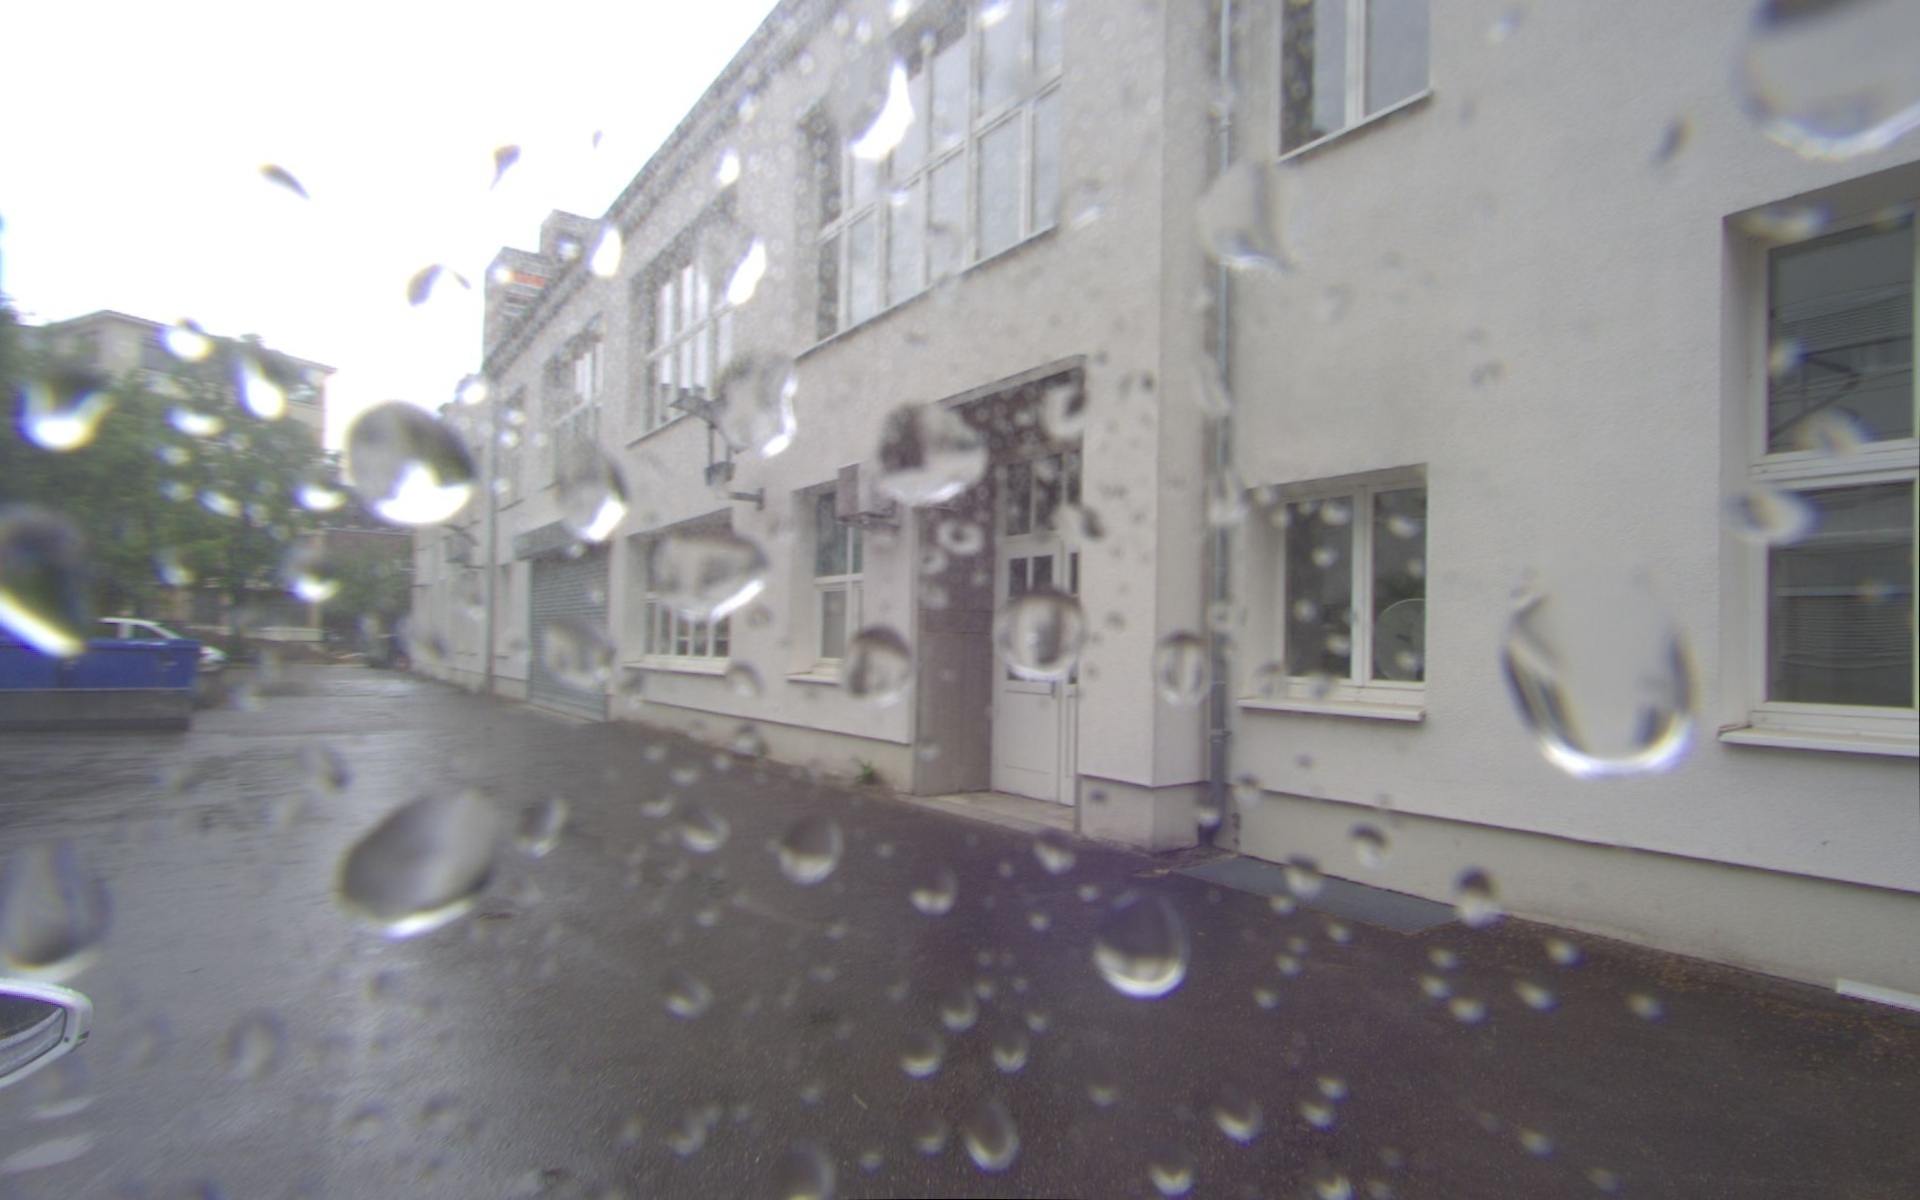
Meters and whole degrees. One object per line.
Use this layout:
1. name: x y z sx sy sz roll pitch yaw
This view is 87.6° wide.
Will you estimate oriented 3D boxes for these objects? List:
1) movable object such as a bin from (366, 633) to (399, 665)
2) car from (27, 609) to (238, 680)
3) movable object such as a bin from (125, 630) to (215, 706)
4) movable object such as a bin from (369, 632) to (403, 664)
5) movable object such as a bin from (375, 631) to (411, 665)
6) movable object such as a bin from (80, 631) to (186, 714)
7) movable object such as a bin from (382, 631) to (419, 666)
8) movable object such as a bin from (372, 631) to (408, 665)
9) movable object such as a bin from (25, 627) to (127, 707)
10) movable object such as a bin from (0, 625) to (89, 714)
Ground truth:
1. movable object such as a bin: -27.391 2.326 47.478 1.204 1.454 1.251 3 -5 -36
2. car: -25.024 1.349 30.557 4.734 2.039 1.987 2 -2 -34
3. movable object such as a bin: -14.874 1.270 18.894 1.210 1.354 1.000 3 -2 -34
4. movable object such as a bin: -26.596 2.239 46.365 1.204 1.454 1.251 3 -5 -36
5. movable object such as a bin: -24.868 2.125 43.929 1.204 1.454 1.286 3 -5 -36
6. movable object such as a bin: -14.203 1.236 17.256 1.190 1.354 1.111 2 -3 -30
7. movable object such as a bin: -23.807 2.074 42.620 1.204 1.454 1.228 3 -5 -37
8. movable object such as a bin: -25.772 2.189 45.274 1.204 1.486 1.228 3 -5 -37
9. movable object such as a bin: -15.882 1.197 18.043 1.210 1.354 1.000 3 -1 -34
10. movable object such as a bin: -15.262 1.142 16.486 1.192 1.354 1.109 5 -2 -34
